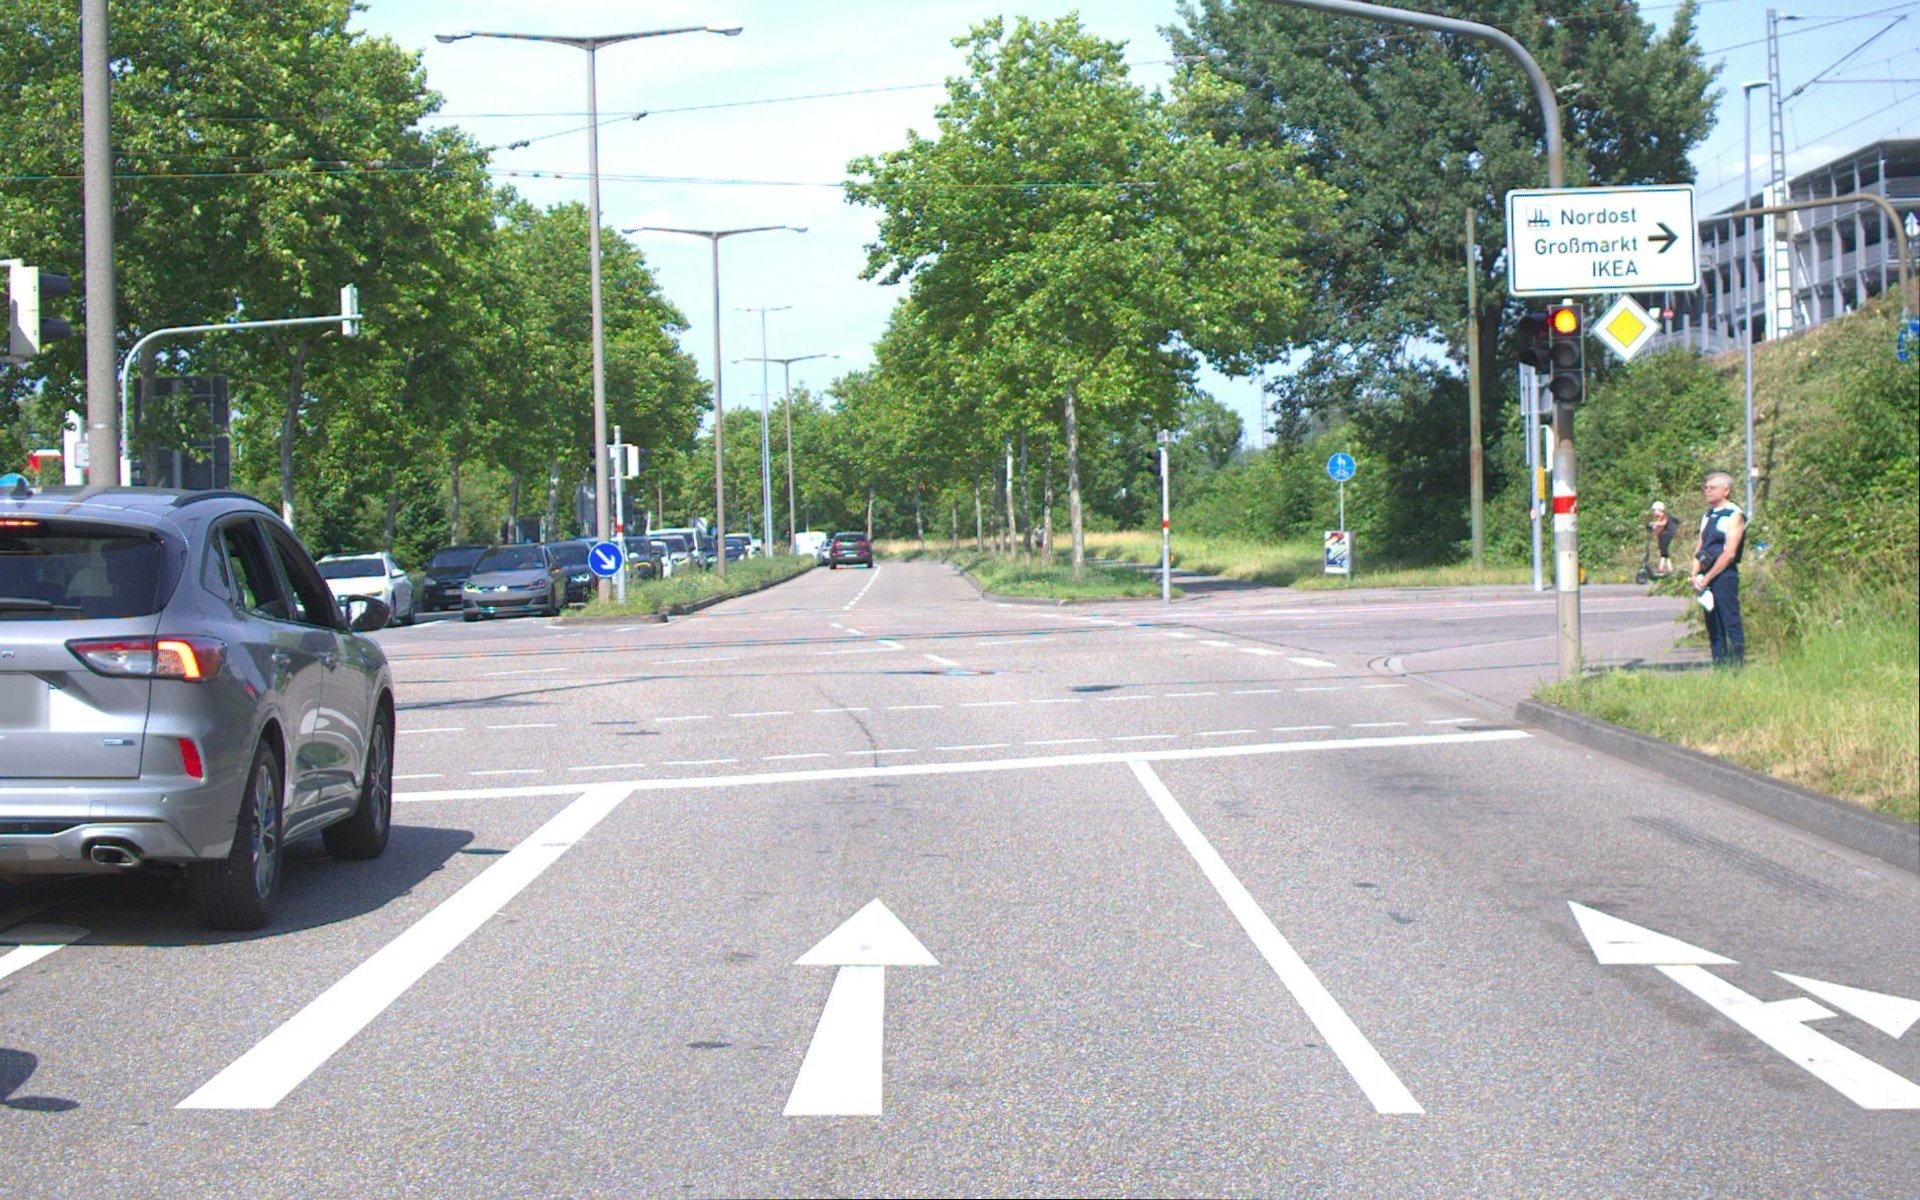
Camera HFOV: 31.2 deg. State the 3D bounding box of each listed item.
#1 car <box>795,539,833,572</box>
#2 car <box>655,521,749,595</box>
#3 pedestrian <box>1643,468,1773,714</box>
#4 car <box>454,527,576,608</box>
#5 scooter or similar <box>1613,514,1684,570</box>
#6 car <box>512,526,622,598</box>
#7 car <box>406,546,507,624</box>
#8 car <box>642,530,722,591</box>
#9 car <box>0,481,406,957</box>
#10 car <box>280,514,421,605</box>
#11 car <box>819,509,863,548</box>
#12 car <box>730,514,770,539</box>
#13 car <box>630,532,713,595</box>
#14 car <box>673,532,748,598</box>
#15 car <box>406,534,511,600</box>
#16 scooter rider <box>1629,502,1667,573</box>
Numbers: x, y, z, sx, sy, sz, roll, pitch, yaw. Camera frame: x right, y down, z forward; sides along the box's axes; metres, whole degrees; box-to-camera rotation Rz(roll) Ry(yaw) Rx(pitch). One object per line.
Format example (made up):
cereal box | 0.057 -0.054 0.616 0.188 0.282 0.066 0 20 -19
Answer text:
car | -7.828 -2.385 184.164 1.866 1.689 4.410 -1 1 -1
car | -6.197 -1.034 82.884 1.993 1.690 4.000 -1 1 -1
pedestrian | 6.006 -0.086 27.631 0.837 1.926 0.772 -1 3 -3
car | -8.838 -0.666 68.532 1.918 1.508 4.000 -1 1 -1
scooter or similar | 13.906 -1.172 69.428 1.344 1.094 0.492 -1 1 5
car | -8.667 -0.869 76.139 1.993 1.495 4.000 -1 1 -1
car | -12.966 -0.408 88.685 1.993 1.889 4.376 -1 1 -1
car | -7.978 -1.164 98.874 1.993 1.672 4.000 -1 1 -1
car | -3.489 0.369 13.817 1.881 1.612 4.213 -1 1 -1
car | -11.545 -0.798 65.382 1.993 1.507 4.001 -1 3 -1
car | -5.191 -3.122 150.350 1.736 1.530 4.001 -1 3 0
car | -14.827 -5.183 243.075 1.865 1.689 4.411 -2 1 -16
car | -7.742 -1.007 92.506 1.903 1.590 4.000 -1 1 -1
car | -7.572 -1.084 104.719 1.993 1.889 4.376 -1 1 -1
car | -12.139 -0.819 83.417 1.993 1.508 4.000 -1 1 -1
scooter rider | 13.902 -1.265 69.434 0.675 1.423 0.492 -1 1 5
